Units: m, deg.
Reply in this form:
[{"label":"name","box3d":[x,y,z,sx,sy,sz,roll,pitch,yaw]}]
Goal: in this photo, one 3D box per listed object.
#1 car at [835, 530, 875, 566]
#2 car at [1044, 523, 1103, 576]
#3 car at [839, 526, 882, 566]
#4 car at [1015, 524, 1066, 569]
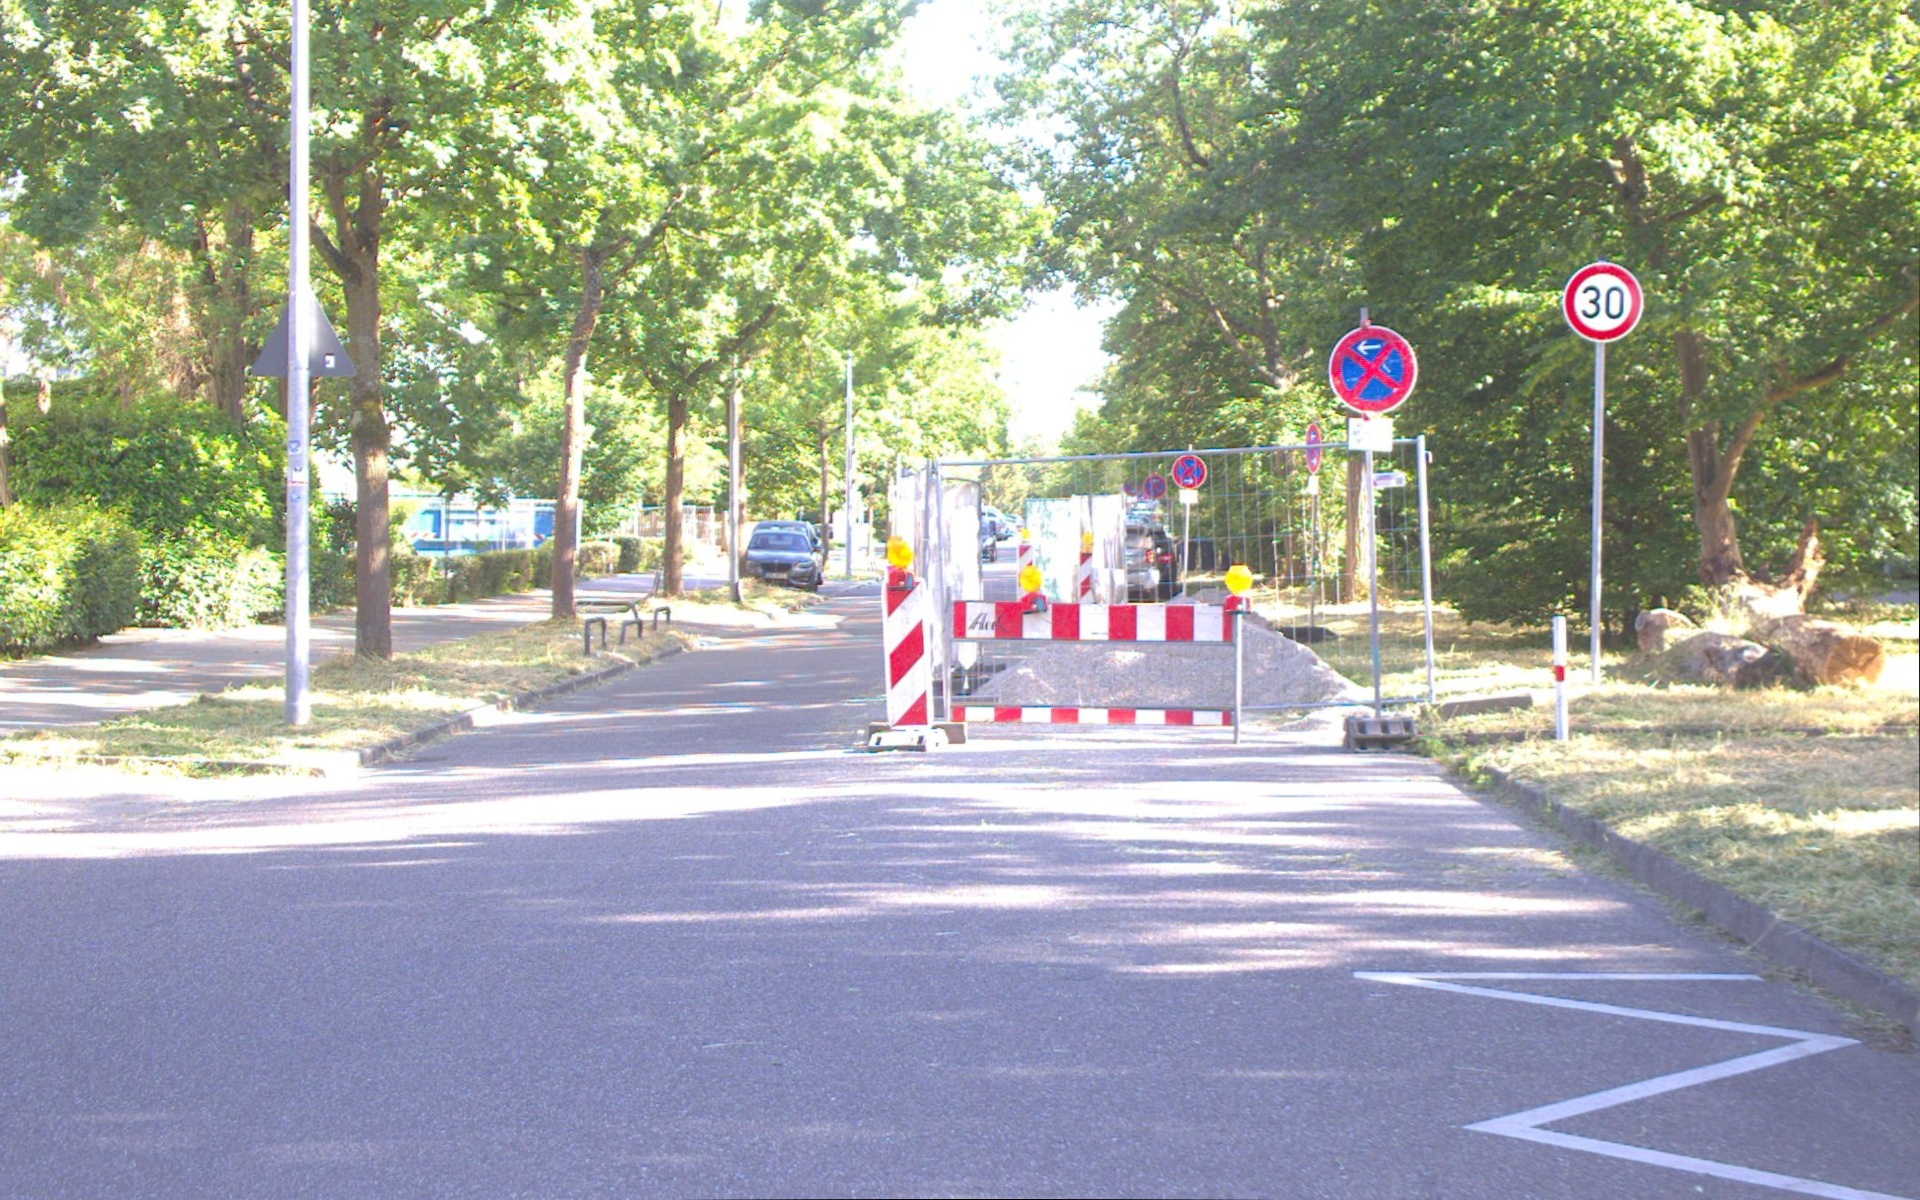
[{"label":"car","box3d":[-3.827,-1.897,125.592,1.361,1.298,3.481,1,1,-1]},{"label":"car","box3d":[2.893,-1.289,88.112,1.361,1.298,3.481,1,1,-1]},{"label":"car","box3d":[-3.279,-1.772,113.841,1.361,1.298,3.481,1,1,-1]},{"label":"car","box3d":[2.354,-1.566,101.101,1.361,1.298,3.481,1,1,-1]}]
